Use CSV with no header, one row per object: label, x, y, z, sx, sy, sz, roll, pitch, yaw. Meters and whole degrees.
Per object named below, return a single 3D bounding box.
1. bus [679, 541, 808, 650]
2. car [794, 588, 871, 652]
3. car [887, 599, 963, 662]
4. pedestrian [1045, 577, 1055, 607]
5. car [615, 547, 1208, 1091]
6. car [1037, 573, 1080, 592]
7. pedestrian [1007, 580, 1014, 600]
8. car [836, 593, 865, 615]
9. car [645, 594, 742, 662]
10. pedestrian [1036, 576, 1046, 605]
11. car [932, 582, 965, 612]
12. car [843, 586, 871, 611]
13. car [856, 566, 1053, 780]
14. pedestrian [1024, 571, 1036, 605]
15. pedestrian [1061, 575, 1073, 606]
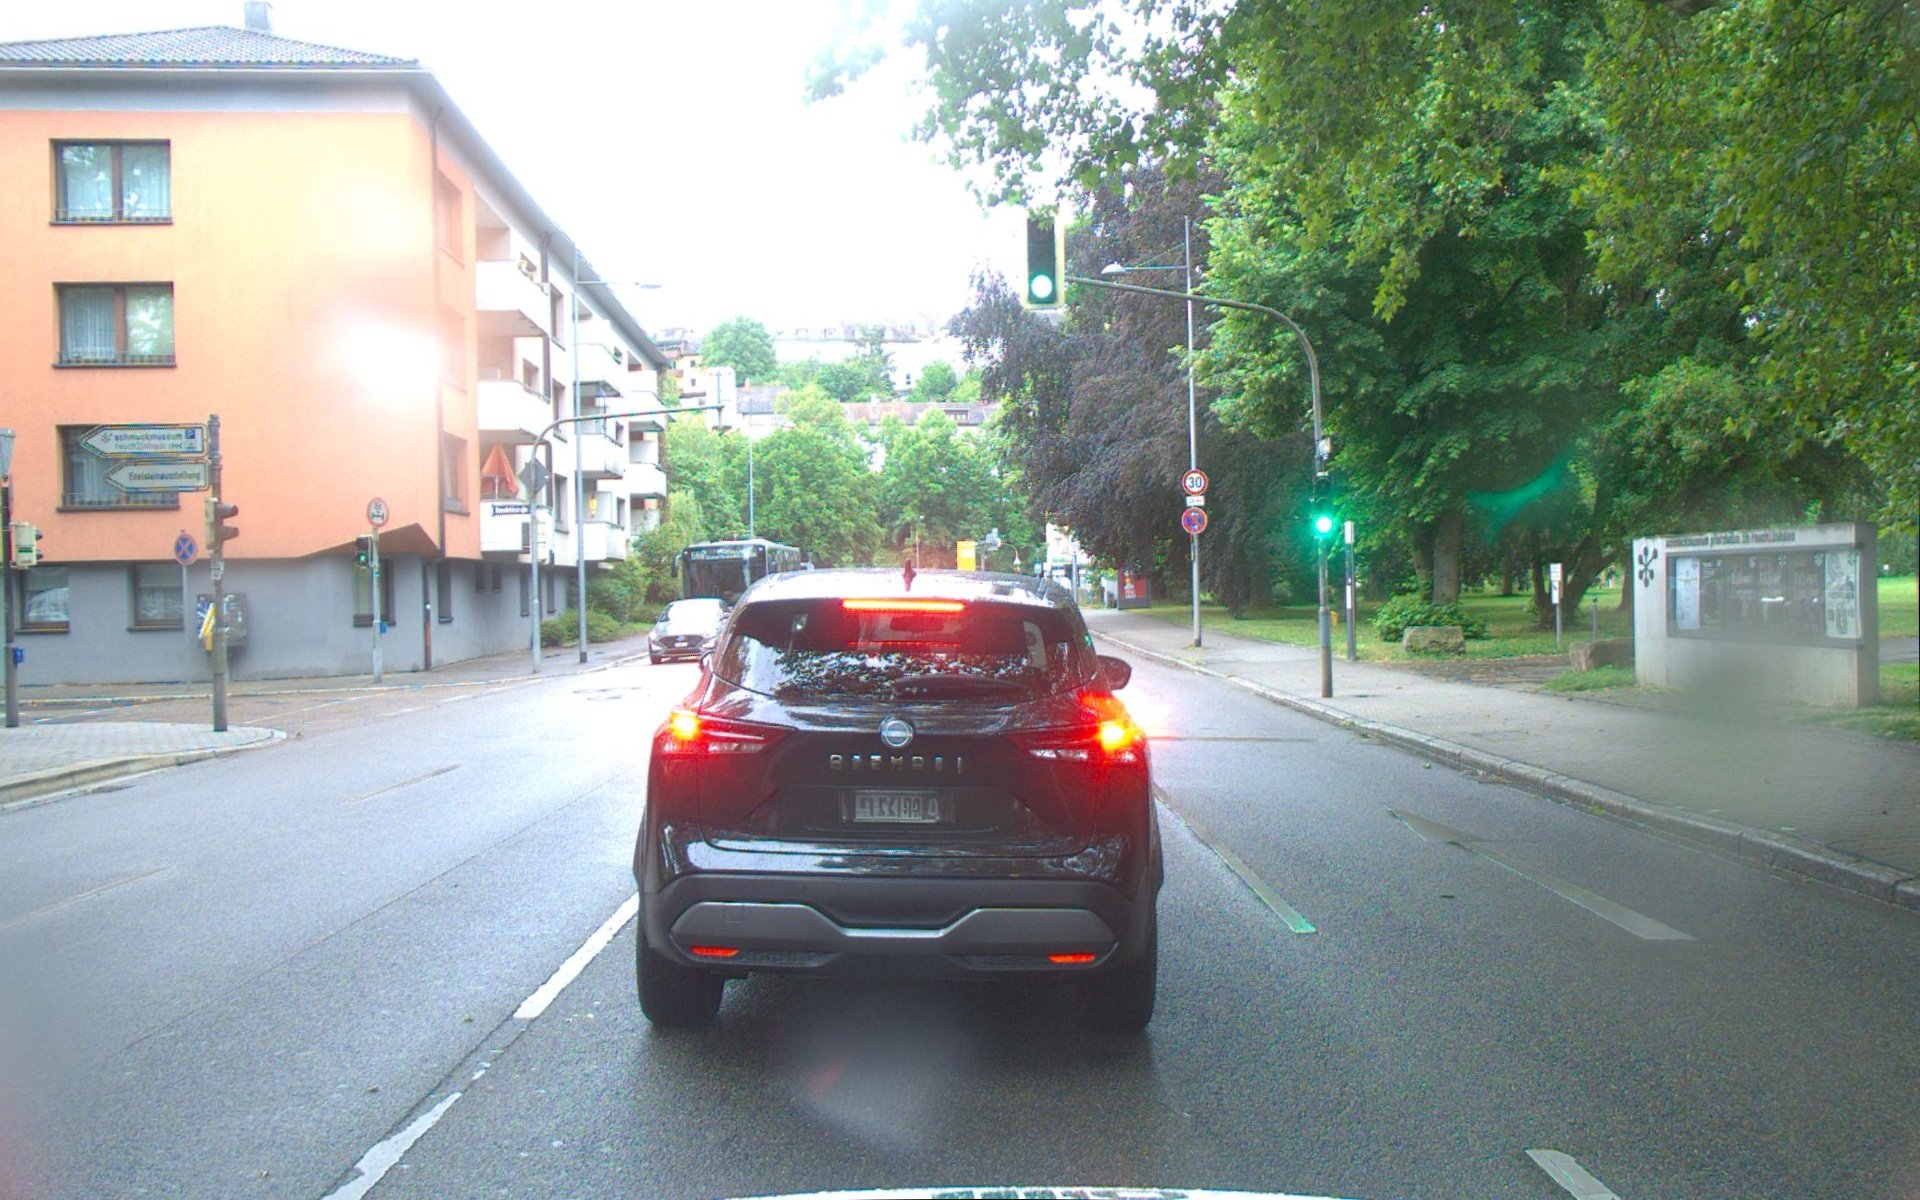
bus,-6.721,-0.148,53.104,2.710,3.026,11.779,-1,0,-1
car,-3.089,0.457,40.695,1.591,1.439,3.454,-2,0,0
car,-0.894,0.724,41.107,1.772,1.442,4.029,0,0,-2
pedestrian,5.162,-0.469,95.143,0.504,1.684,0.550,1,-1,-1
car,-0.171,0.673,7.003,1.769,1.618,3.999,1,0,-1
car,9.792,-1.773,164.552,3.916,1.713,1.995,-2,0,-11
pedestrian,5.255,-1.046,172.492,0.684,2.049,0.582,-2,0,-1
car,-6.984,0.233,105.609,1.643,1.318,3.750,-3,1,-2
car,-6.423,0.642,40.244,1.772,1.441,4.029,-3,1,-2
pedestrian,4.764,-0.558,97.050,0.533,1.680,0.490,1,-1,0
car,-0.570,-0.160,83.157,1.591,1.439,3.454,-2,0,0
car,-7.184,-0.102,116.067,1.714,1.662,3.634,-2,1,0
car,-0.017,0.597,15.720,1.588,1.738,3.771,-2,0,1
pedestrian,4.588,-0.760,107.782,0.752,2.222,0.711,1,-1,2
pedestrian,6.357,-0.592,98.102,0.606,1.810,0.778,-2,0,-1
